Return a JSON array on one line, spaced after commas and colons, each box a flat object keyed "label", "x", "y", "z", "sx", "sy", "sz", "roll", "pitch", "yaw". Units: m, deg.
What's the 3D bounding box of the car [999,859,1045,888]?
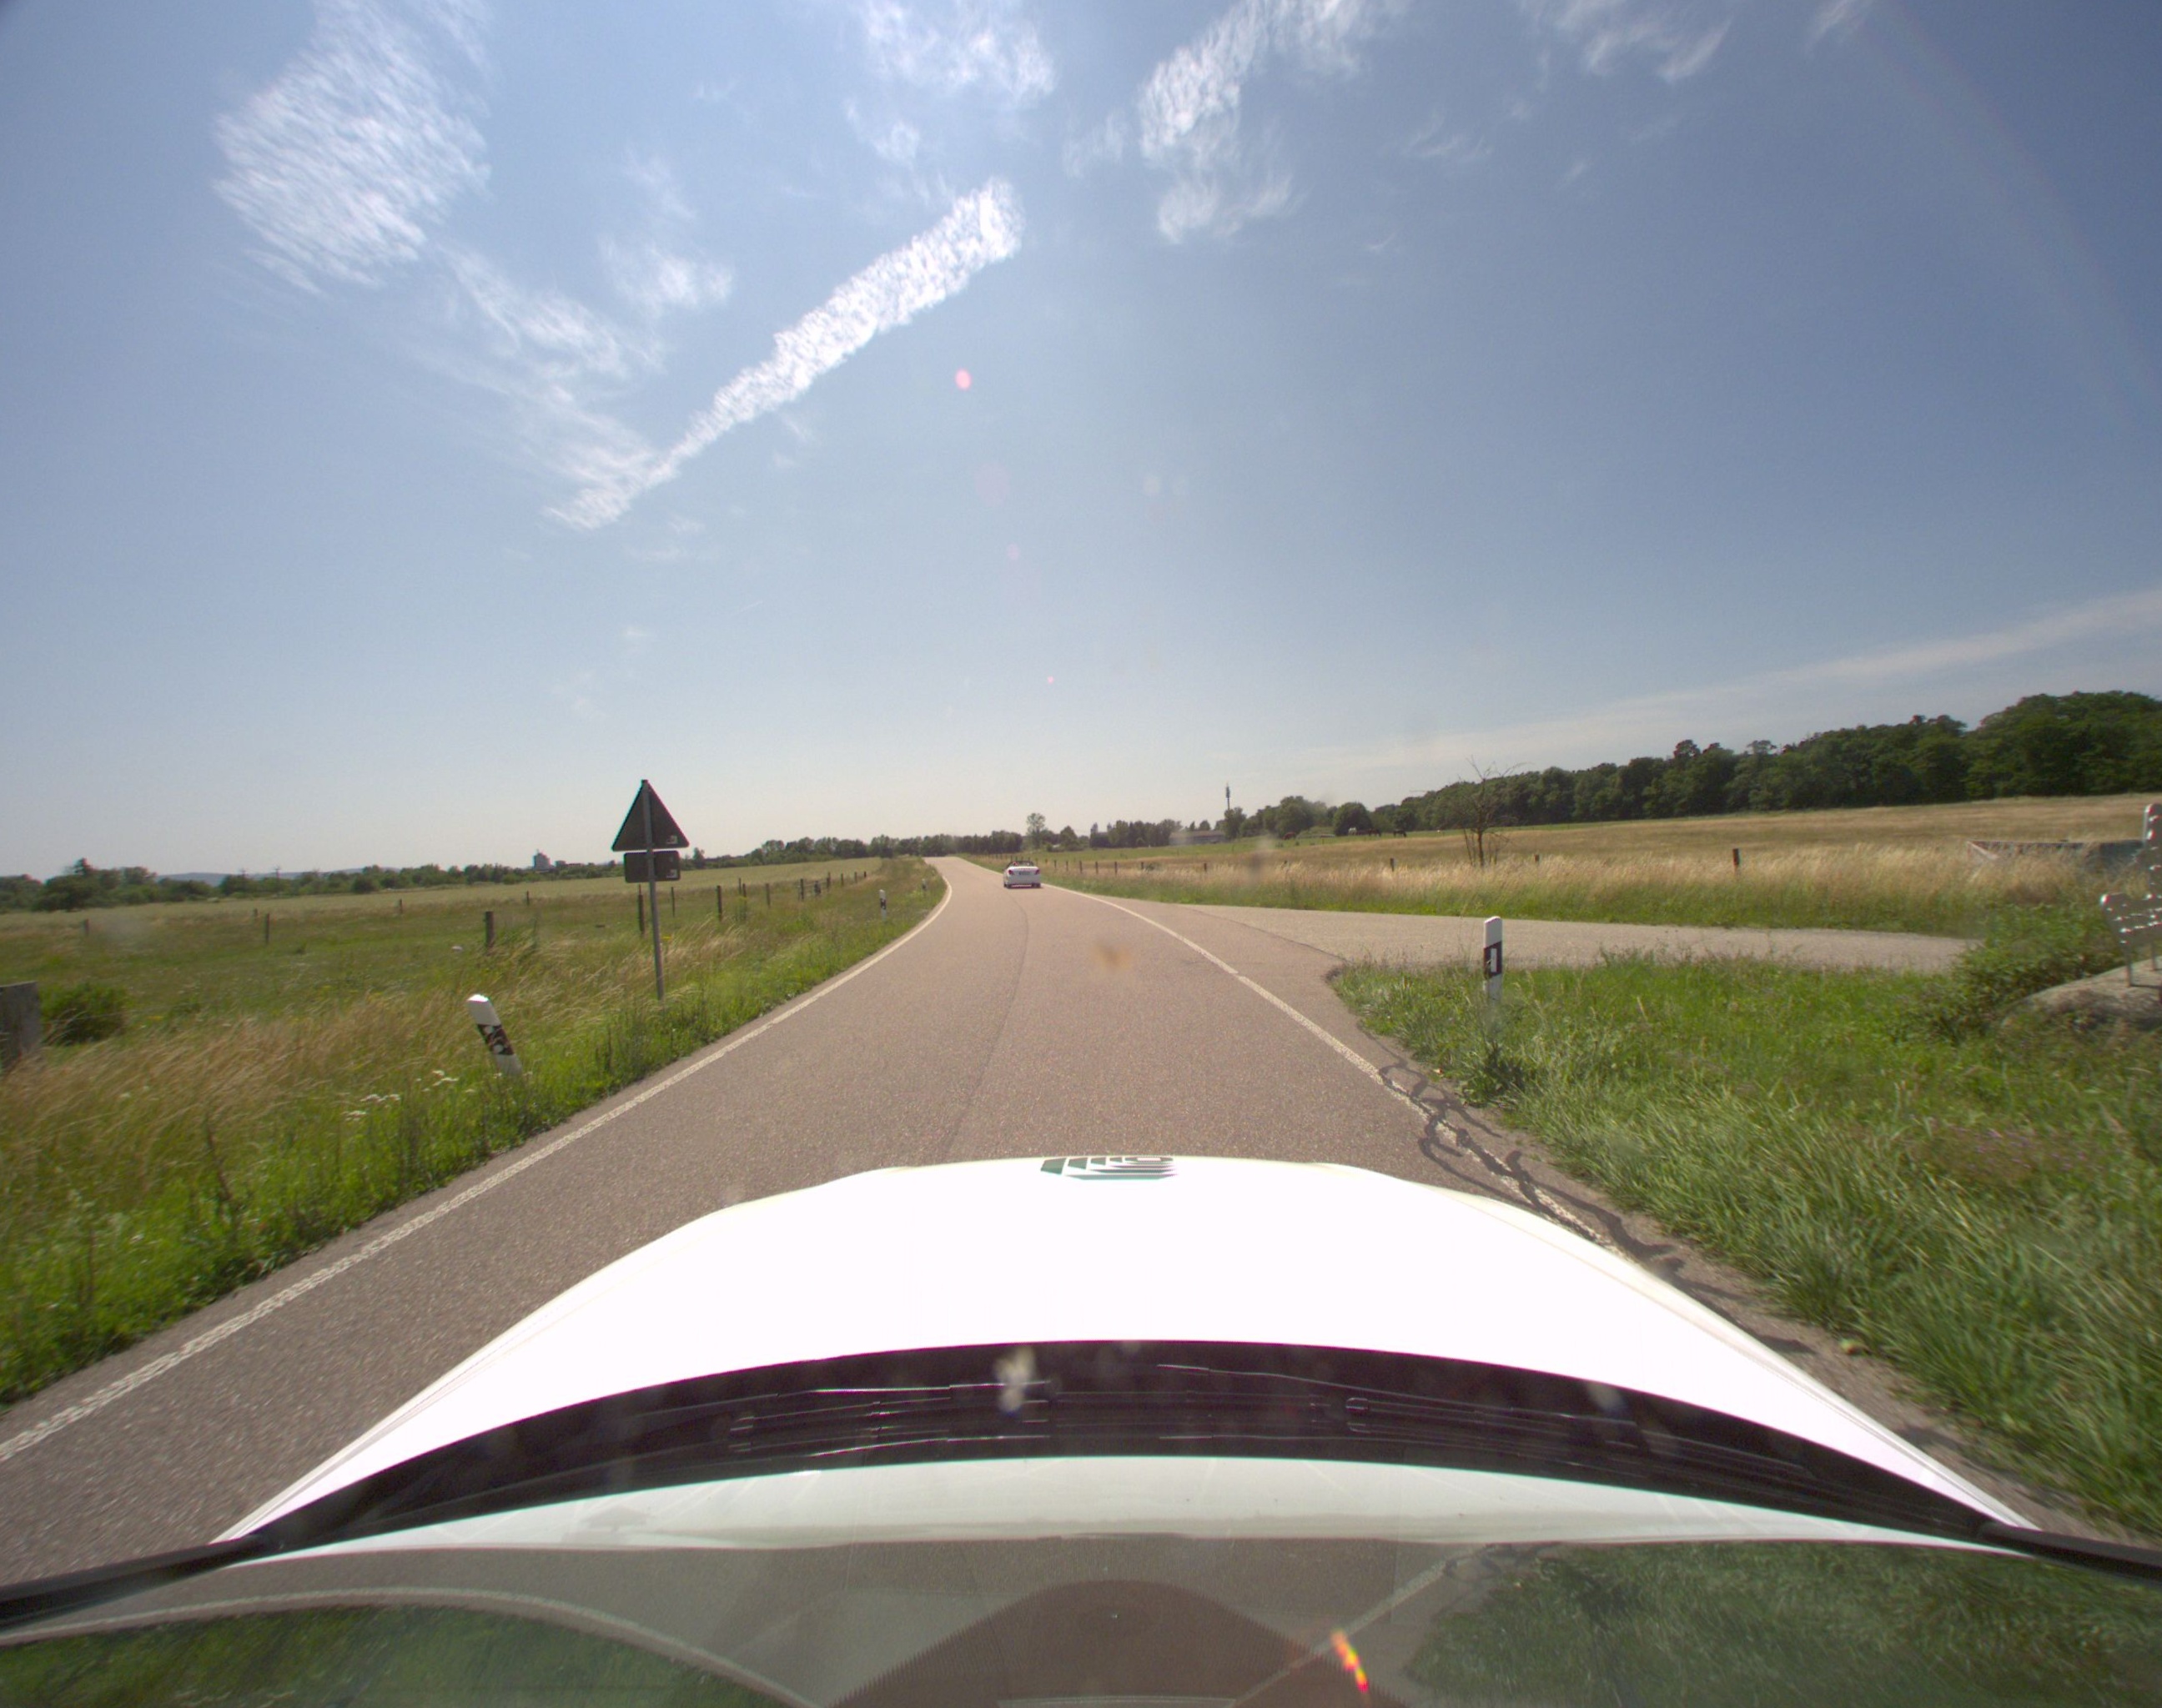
[{"label": "car", "x": -3.111, "y": 0.962, "z": 42.102, "sx": 1.852, "sy": 1.379, "sz": 3.984, "roll": -1, "pitch": -1, "yaw": -11}]
